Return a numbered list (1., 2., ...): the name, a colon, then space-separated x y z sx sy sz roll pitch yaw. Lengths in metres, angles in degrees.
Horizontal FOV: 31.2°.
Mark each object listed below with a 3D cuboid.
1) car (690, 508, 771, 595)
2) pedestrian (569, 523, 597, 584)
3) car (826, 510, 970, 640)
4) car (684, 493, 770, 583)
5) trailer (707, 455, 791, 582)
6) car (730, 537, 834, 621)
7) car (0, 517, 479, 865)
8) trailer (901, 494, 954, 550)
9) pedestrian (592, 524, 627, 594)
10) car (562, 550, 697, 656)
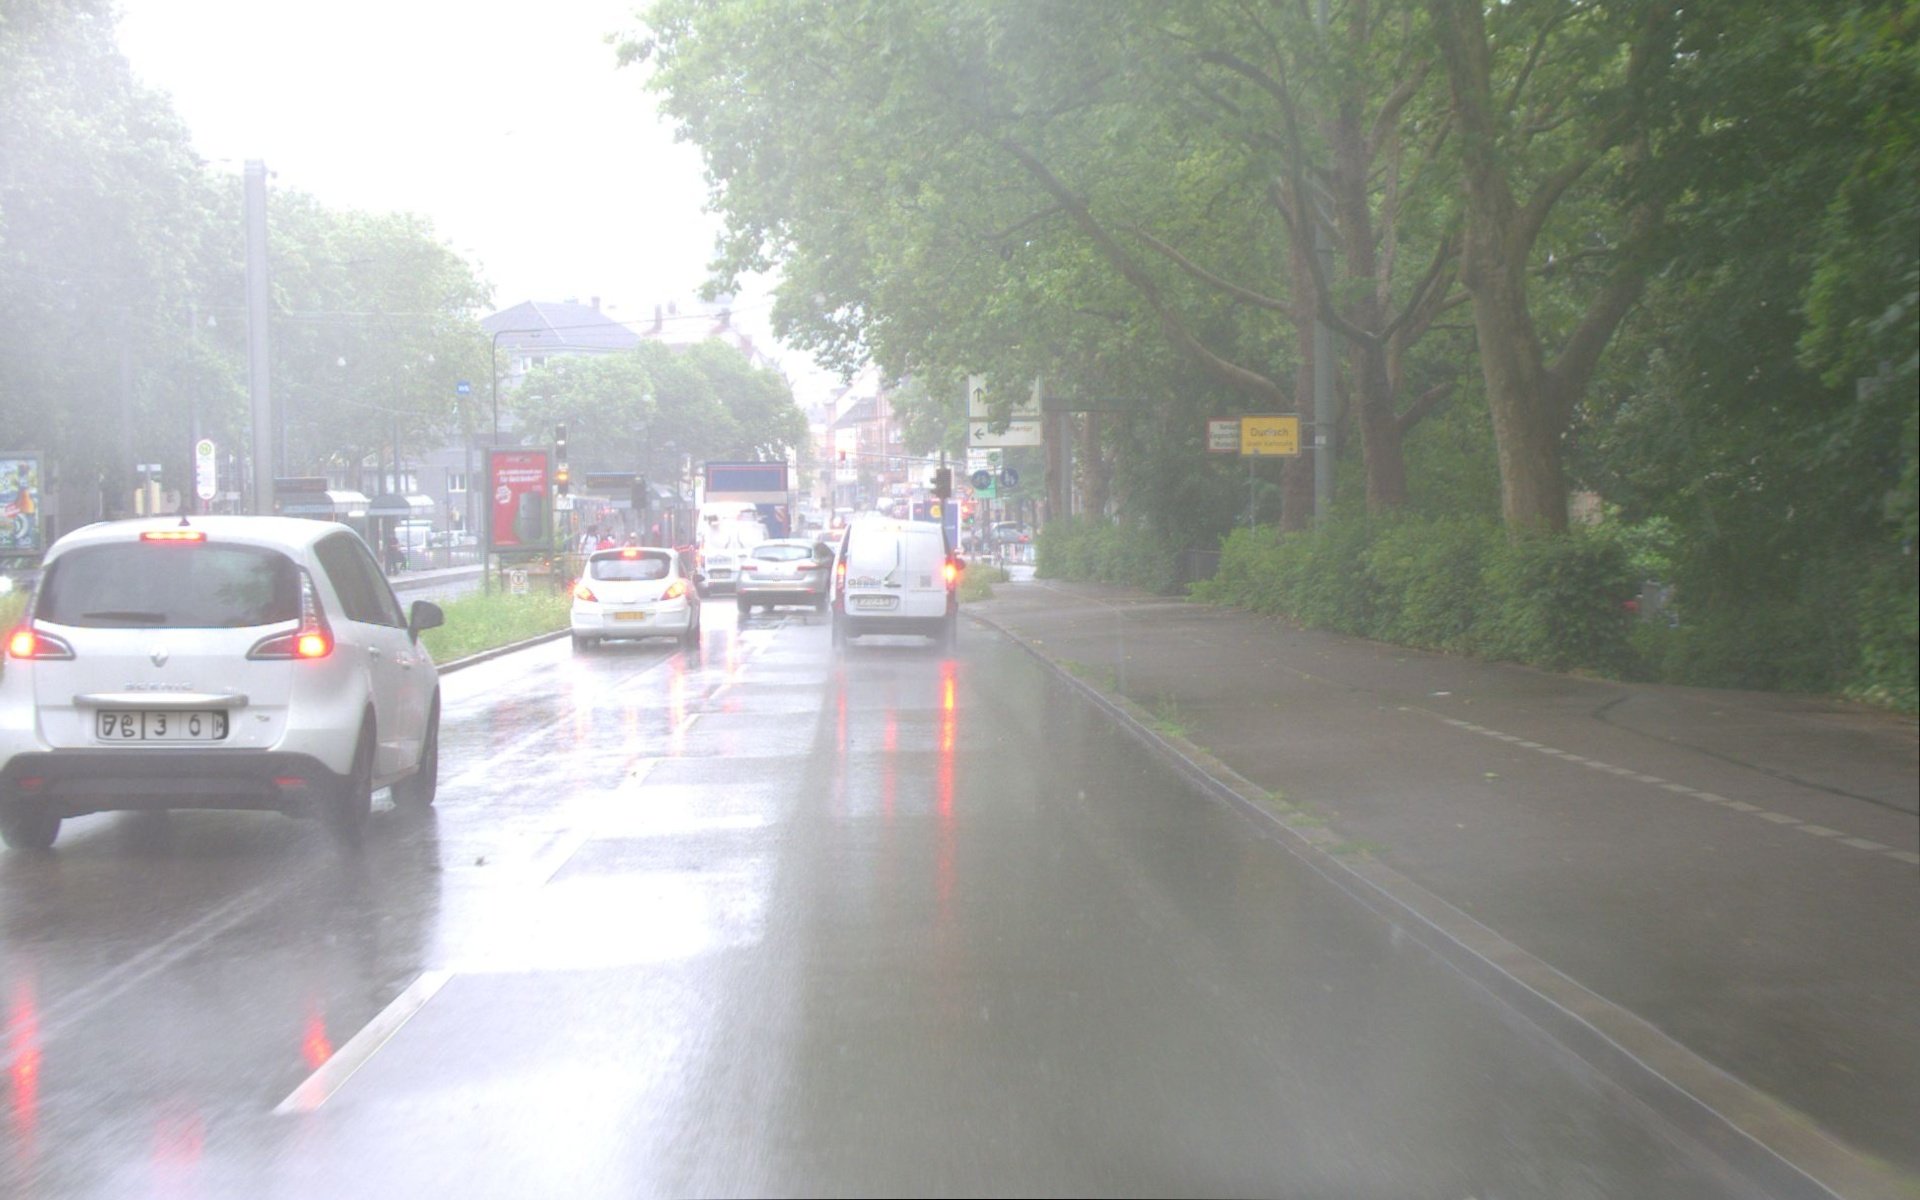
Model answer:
1. car: -6.131 -1.282 92.237 1.993 2.254 5.289 0 0 -2
2. pedestrian: -10.733 -1.330 97.896 0.715 1.738 0.751 0 1 -3
3. car: -0.922 -0.353 48.890 1.959 1.771 3.570 0 0 -2
4. car: -6.788 -1.766 100.662 2.329 2.548 6.115 0 0 -2
5. trailer: -6.740 -2.596 109.818 2.590 3.886 7.637 0 1 -3
6. car: -3.514 -0.417 68.473 1.908 1.612 4.000 0 0 -1
7. car: -3.779 0.397 18.197 1.864 1.618 4.263 0 1 0
8. trailer: -1.424 -3.346 147.878 1.993 2.309 4.669 0 0 -4
9. pedestrian: -8.724 -1.020 85.589 0.790 1.708 0.771 2 0 -3
10. car: -4.724 0.035 49.542 1.725 1.474 3.806 0 0 -2
